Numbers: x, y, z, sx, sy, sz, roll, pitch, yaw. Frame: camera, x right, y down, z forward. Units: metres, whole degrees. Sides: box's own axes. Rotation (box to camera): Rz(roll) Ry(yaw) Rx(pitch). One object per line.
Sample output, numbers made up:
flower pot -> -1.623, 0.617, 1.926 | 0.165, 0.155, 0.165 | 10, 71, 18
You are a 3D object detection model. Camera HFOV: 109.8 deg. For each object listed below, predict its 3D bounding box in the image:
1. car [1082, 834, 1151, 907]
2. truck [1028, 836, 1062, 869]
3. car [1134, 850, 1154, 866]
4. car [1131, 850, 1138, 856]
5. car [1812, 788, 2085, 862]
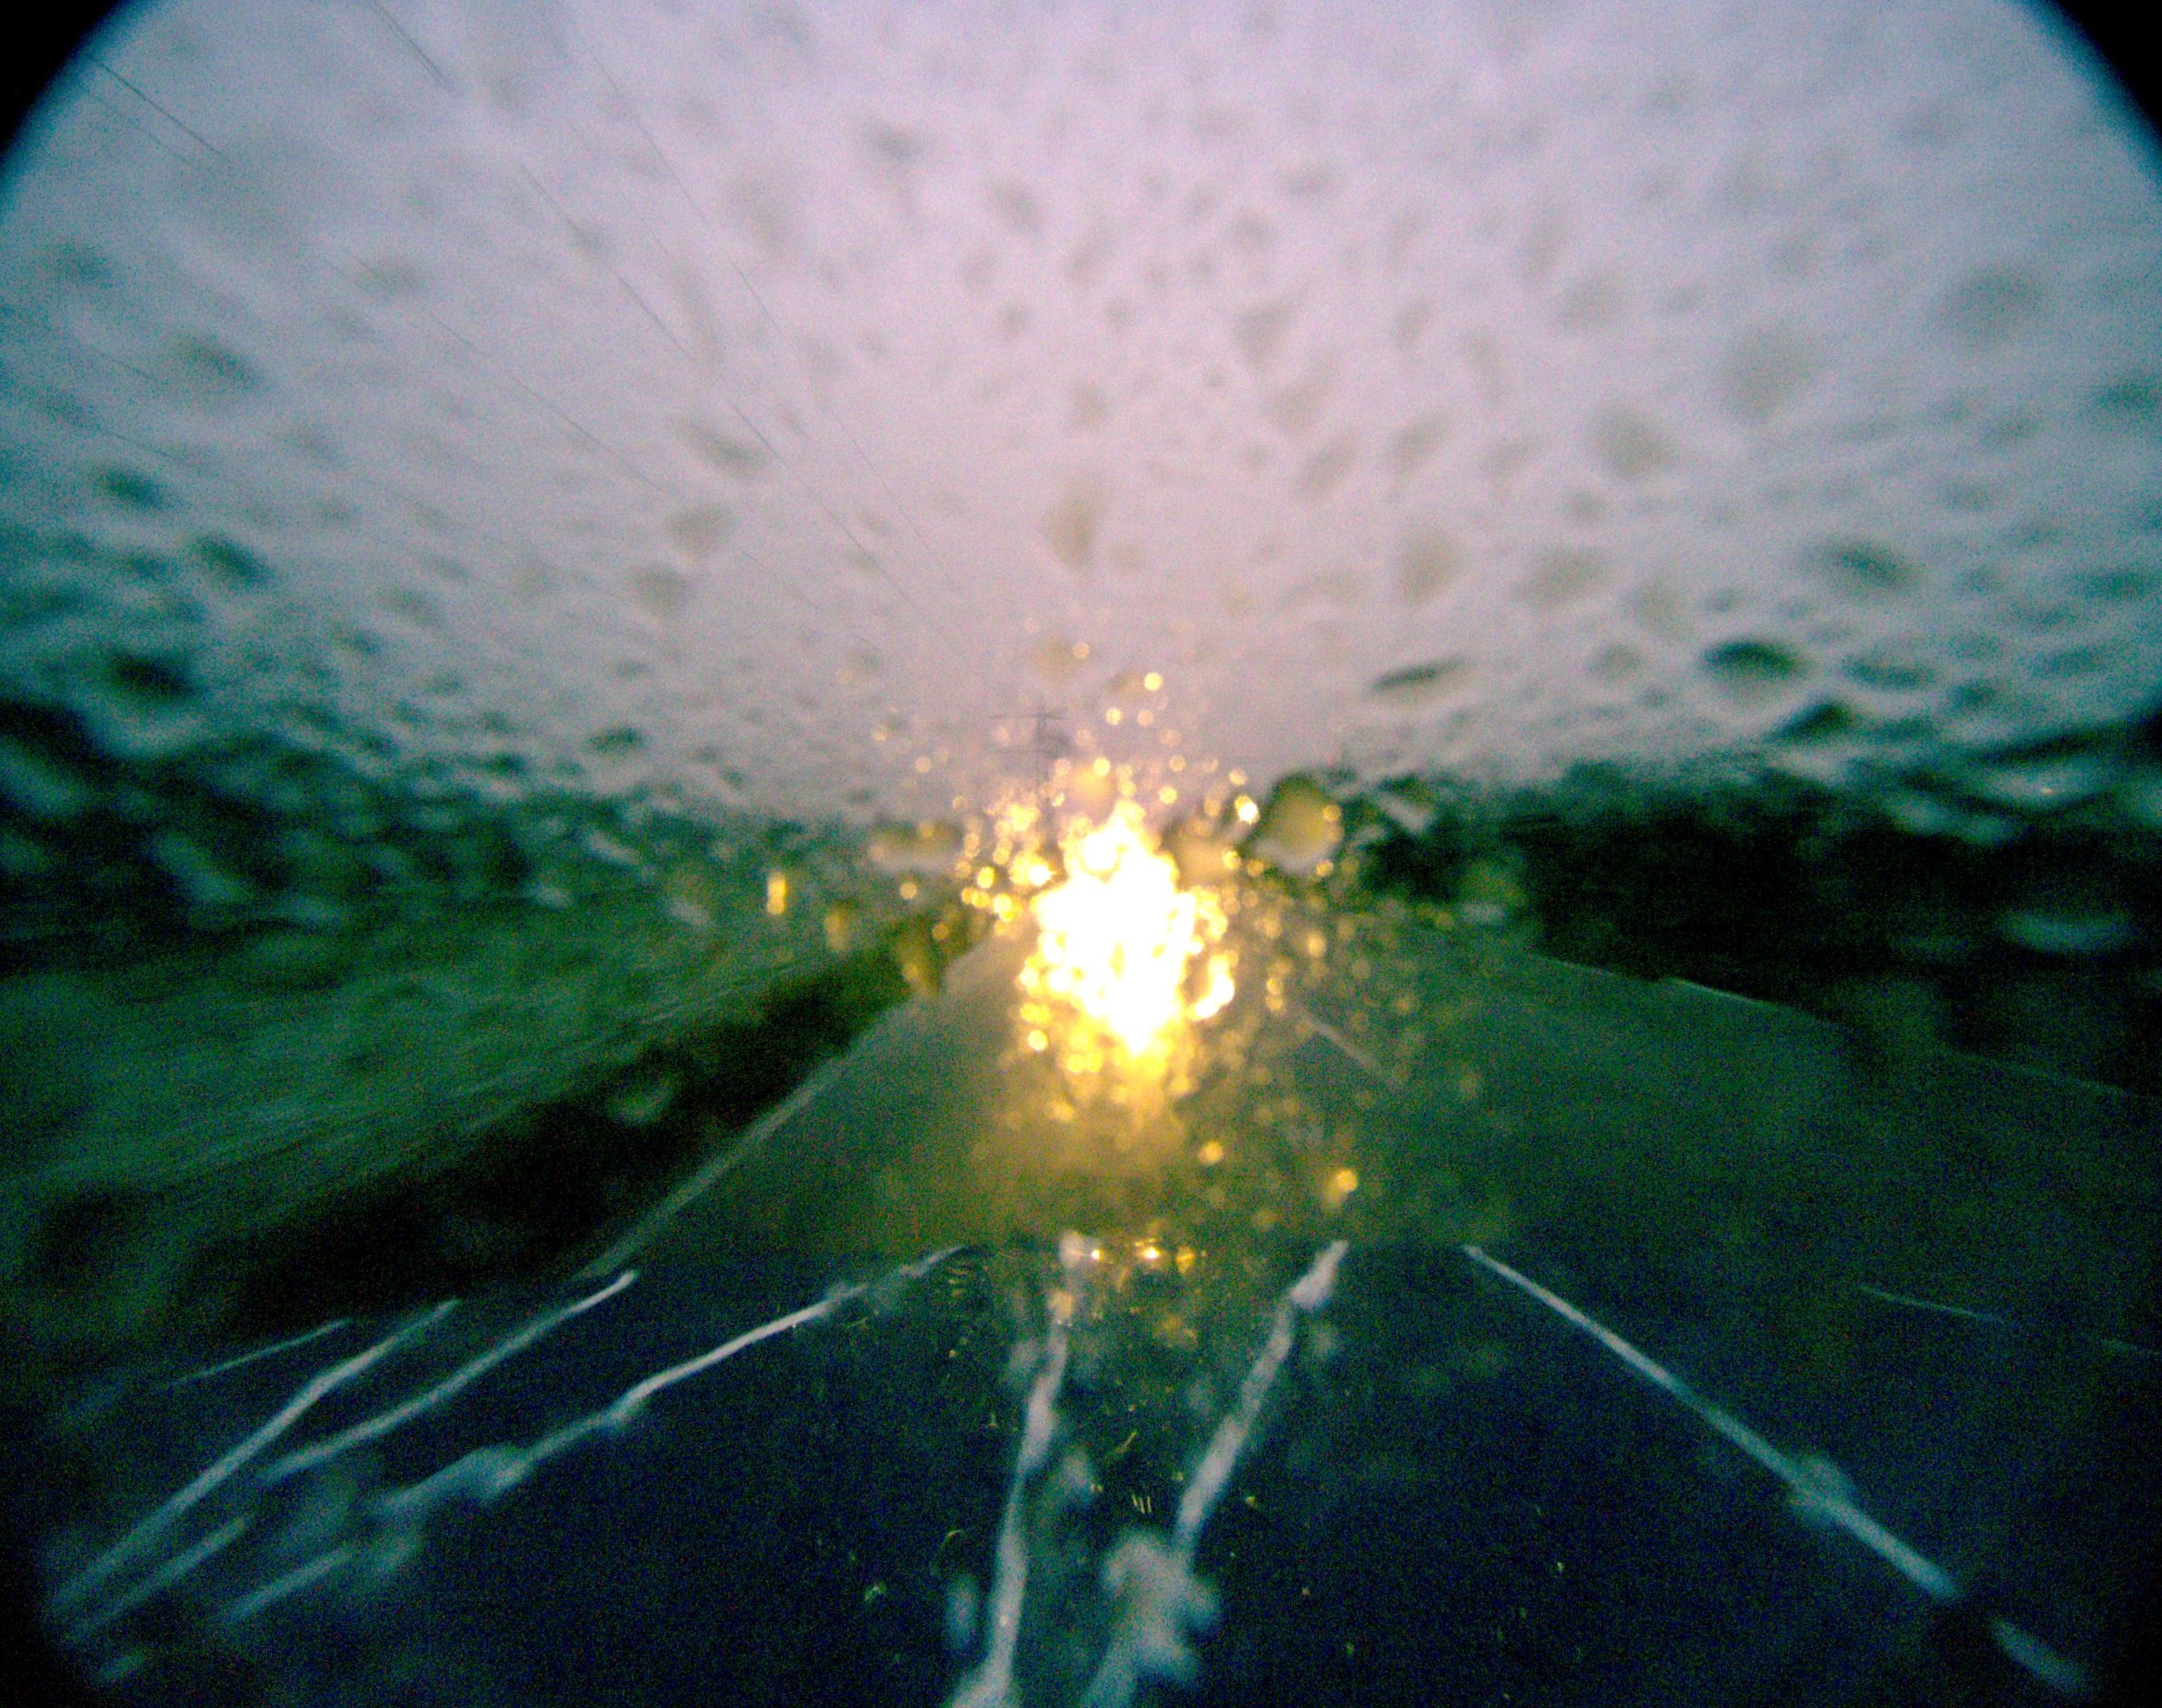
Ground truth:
car -> 0.998, 0.449, 23.393 | 1.857, 2.002, 3.999 | -2, 1, 0
truck -> -3.437, -0.149, 74.519 | 2.540, 2.961, 7.858 | -2, 1, 2
car -> 6.491, 0.380, 78.719 | 1.790, 1.582, 4.486 | -2, 0, 2
car -> 13.705, -0.247, 195.692 | 1.773, 1.582, 4.164 | -2, 0, 3
car -> 27.235, -0.855, 24.284 | 2.318, 2.002, 5.603 | -2, 1, 0
